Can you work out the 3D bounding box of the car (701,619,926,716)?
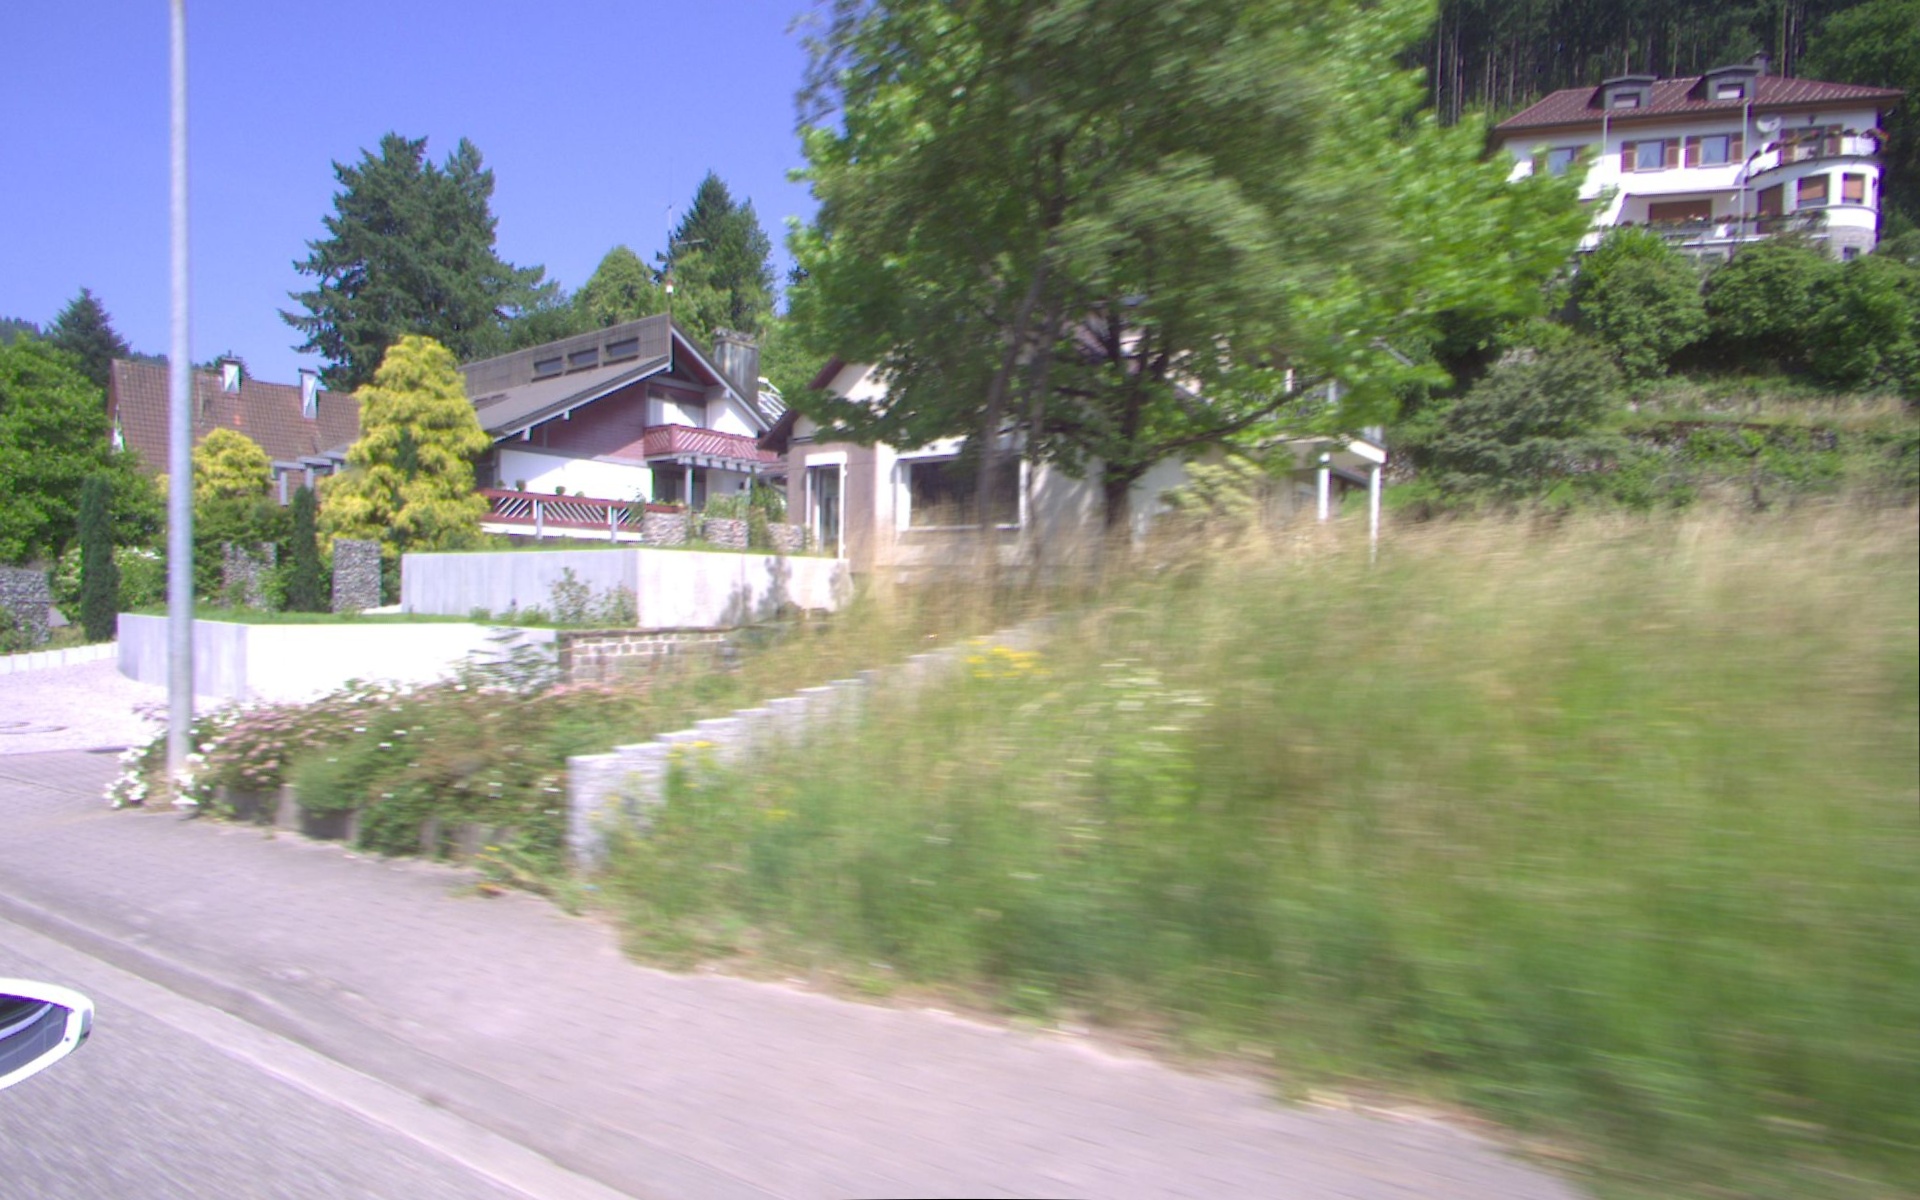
[{"bbox_3d":[-2.433,1.081,17.366,1.702,1.489,3.719,-1,-1,39],"label":"car"}]
